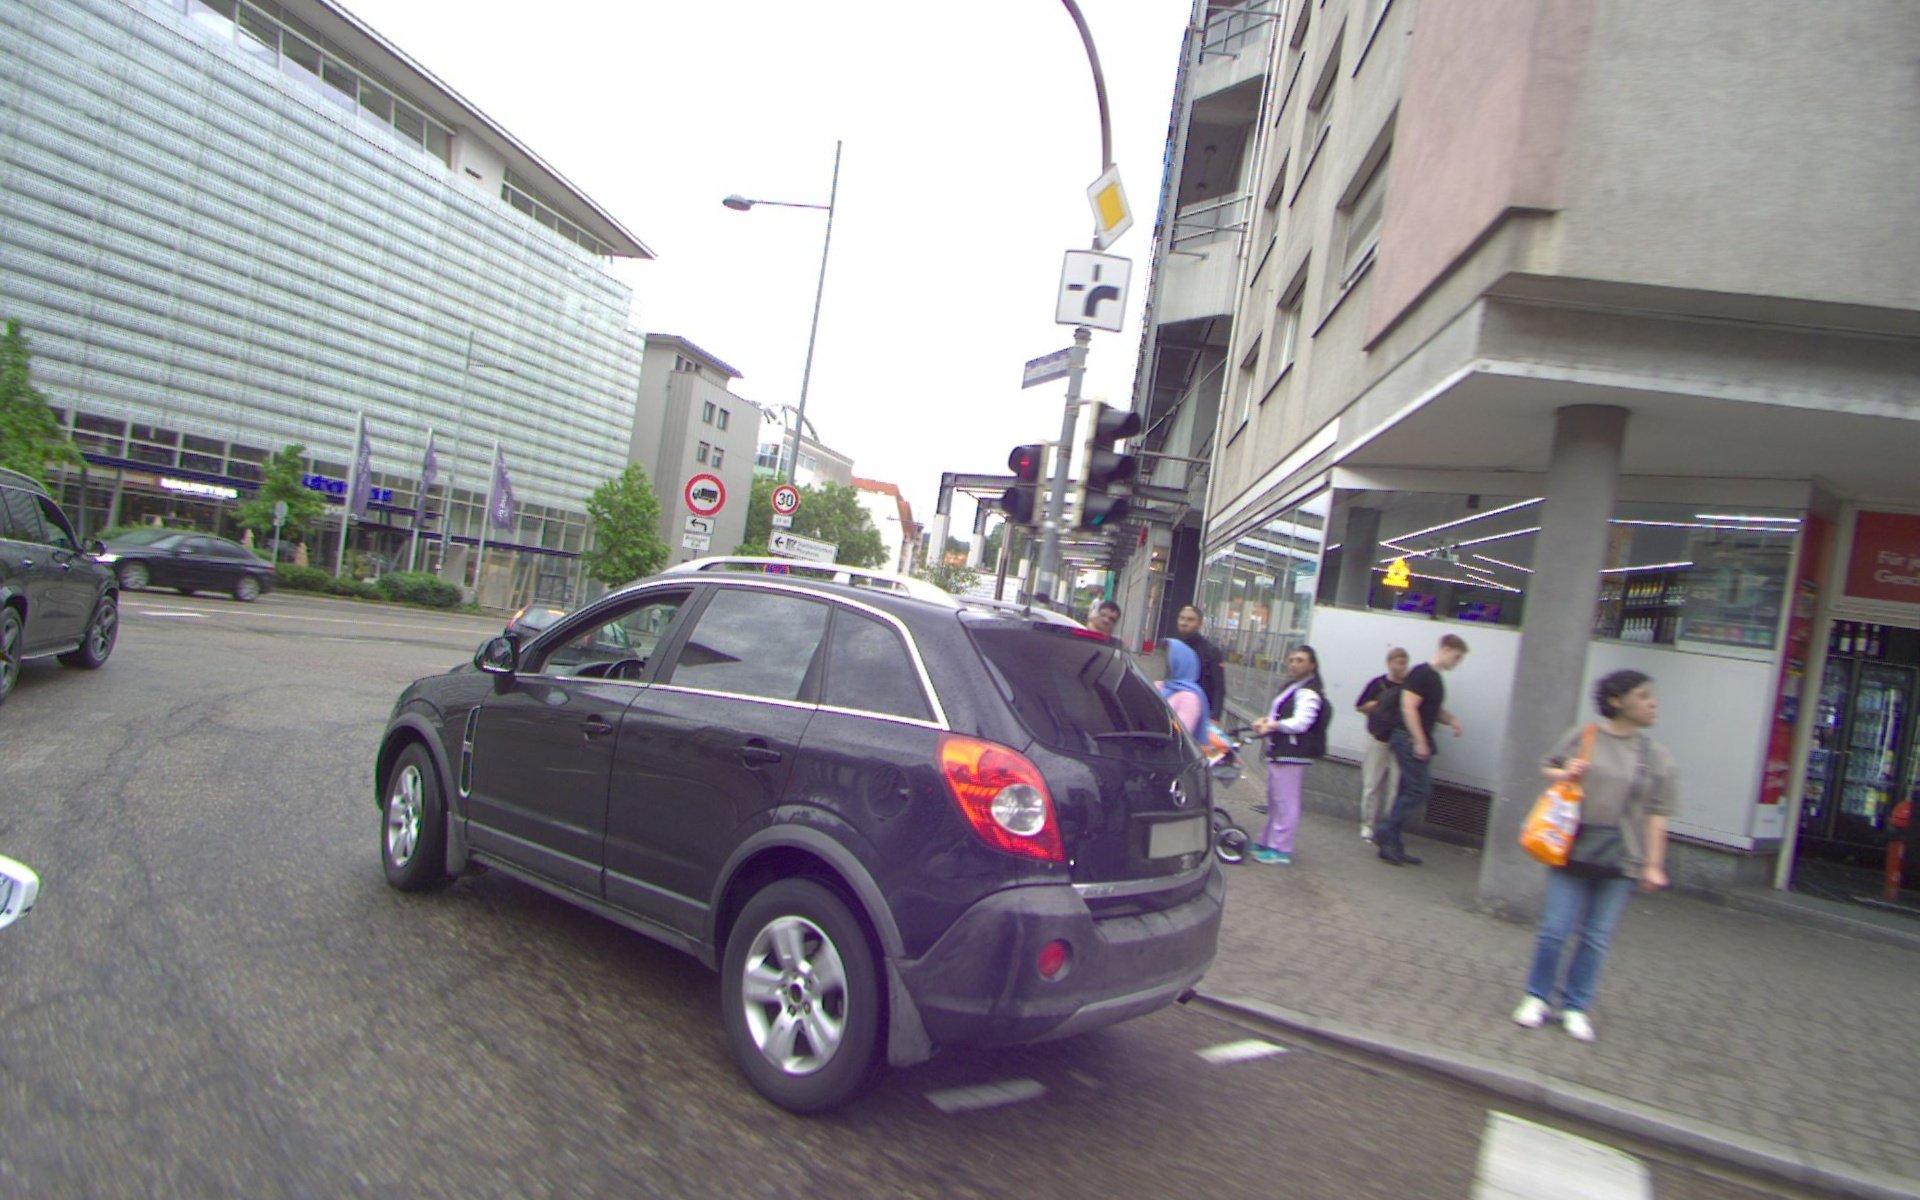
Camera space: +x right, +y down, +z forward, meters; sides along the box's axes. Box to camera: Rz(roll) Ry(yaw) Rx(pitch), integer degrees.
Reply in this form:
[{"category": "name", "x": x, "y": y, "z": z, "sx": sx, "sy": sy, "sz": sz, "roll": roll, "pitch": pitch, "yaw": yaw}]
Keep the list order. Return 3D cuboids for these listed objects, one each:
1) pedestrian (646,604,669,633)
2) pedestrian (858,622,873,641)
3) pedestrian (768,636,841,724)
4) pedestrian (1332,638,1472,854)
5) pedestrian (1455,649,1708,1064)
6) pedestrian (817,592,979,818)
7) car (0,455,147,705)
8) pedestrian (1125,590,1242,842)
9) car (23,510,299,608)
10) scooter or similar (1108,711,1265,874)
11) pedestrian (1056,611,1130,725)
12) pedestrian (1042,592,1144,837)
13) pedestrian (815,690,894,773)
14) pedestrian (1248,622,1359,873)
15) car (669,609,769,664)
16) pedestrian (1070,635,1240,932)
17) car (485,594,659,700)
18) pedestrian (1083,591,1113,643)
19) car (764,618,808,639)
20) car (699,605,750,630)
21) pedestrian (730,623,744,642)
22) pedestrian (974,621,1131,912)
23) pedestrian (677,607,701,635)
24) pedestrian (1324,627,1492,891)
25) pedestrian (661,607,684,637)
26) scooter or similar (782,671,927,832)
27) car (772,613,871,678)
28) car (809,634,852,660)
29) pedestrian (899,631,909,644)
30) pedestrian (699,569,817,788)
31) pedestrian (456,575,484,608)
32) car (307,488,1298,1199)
[{"category": "pedestrian", "x": -19.338, "y": 1.191, "z": 64.328, "sx": 0.979, "sy": 1.742, "sz": 1.038, "roll": 9, "pitch": -2, "yaw": -7}, {"category": "pedestrian", "x": -10.206, "y": 3.392, "z": 108.734, "sx": 1.046, "sy": 1.903, "sz": 0.839, "roll": 8, "pitch": -1, "yaw": 17}, {"category": "pedestrian", "x": -2.984, "y": 1.523, "z": 19.423, "sx": 1.039, "sy": 1.549, "sz": 1.028, "roll": 6, "pitch": -2, "yaw": 5}, {"category": "pedestrian", "x": 3.713, "y": 1.201, "z": 8.514, "sx": 0.822, "sy": 1.659, "sz": 0.617, "roll": 5, "pitch": 3, "yaw": 12}, {"category": "pedestrian", "x": 2.965, "y": 1.140, "z": 4.811, "sx": 0.772, "sy": 1.714, "sz": 0.624, "roll": 7, "pitch": 1, "yaw": 43}, {"category": "pedestrian", "x": -0.518, "y": 0.873, "z": 8.760, "sx": 0.823, "sy": 1.744, "sz": 1.038, "roll": 8, "pitch": 1, "yaw": 25}, {"category": "car", "x": -8.723, "y": -0.318, "z": 8.360, "sx": 2.074, "sy": 1.836, "sz": 4.758, "roll": 11, "pitch": -4, "yaw": -30}, {"category": "pedestrian", "x": 1.911, "y": 0.944, "z": 8.529, "sx": 0.718, "sy": 1.955, "sz": 0.820, "roll": 7, "pitch": 1, "yaw": 16}, {"category": "car", "x": -17.687, "y": -0.824, "z": 22.654, "sx": 1.962, "sy": 1.441, "sz": 4.642, "roll": 8, "pitch": -3, "yaw": 9}, {"category": "scooter or similar", "x": 1.687, "y": 1.429, "z": 7.657, "sx": 1.028, "sy": 0.999, "sz": 0.773, "roll": 5, "pitch": 1, "yaw": 7}, {"category": "pedestrian", "x": 1.083, "y": 0.554, "z": 8.203, "sx": 0.433, "sy": 0.856, "sz": 0.220, "roll": 7, "pitch": -2, "yaw": 29}, {"category": "pedestrian", "x": 1.119, "y": 0.899, "z": 8.353, "sx": 0.646, "sy": 1.890, "sz": 0.838, "roll": 4, "pitch": 2, "yaw": 12}, {"category": "pedestrian", "x": -0.859, "y": 1.064, "z": 8.203, "sx": 0.450, "sy": 0.578, "sz": 0.371, "roll": 7, "pitch": 2, "yaw": 27}, {"category": "pedestrian", "x": 2.581, "y": 1.069, "z": 7.646, "sx": 0.606, "sy": 1.744, "sz": 0.838, "roll": 5, "pitch": 1, "yaw": 16}, {"category": "car", "x": -8.803, "y": 1.391, "z": 37.083, "sx": 1.919, "sy": 1.591, "sz": 4.007, "roll": 10, "pitch": -2, "yaw": 10}, {"category": "pedestrian", "x": 1.201, "y": 1.072, "z": 6.188, "sx": 0.739, "sy": 1.656, "sz": 0.590, "roll": 3, "pitch": 2, "yaw": -41}, {"category": "car", "x": -6.723, "y": 0.868, "z": 17.858, "sx": 1.692, "sy": 1.434, "sz": 3.773, "roll": 9, "pitch": -4, "yaw": -4}, {"category": "pedestrian", "x": 4.848, "y": 0.610, "z": 35.359, "sx": 0.812, "sy": 1.707, "sz": 0.599, "roll": 8, "pitch": -1, "yaw": 10}, {"category": "car", "x": -19.643, "y": 3.233, "z": 113.650, "sx": 4.526, "sy": 1.498, "sz": 1.943, "roll": 11, "pitch": -2, "yaw": -2}, {"category": "car", "x": -26.607, "y": 1.989, "z": 113.730, "sx": 5.000, "sy": 1.777, "sz": 2.001, "roll": 11, "pitch": -2, "yaw": -2}, {"category": "pedestrian", "x": -22.683, "y": 3.282, "z": 102.386, "sx": 0.746, "sy": 1.742, "sz": 0.952, "roll": 8, "pitch": -2, "yaw": 23}, {"category": "pedestrian", "x": 0.580, "y": 0.997, "z": 6.269, "sx": 0.822, "sy": 1.660, "sz": 0.540, "roll": 4, "pitch": 3, "yaw": 8}, {"category": "pedestrian", "x": -18.686, "y": 1.466, "z": 69.394, "sx": 0.958, "sy": 1.742, "sz": 1.091, "roll": 8, "pitch": -2, "yaw": 17}, {"category": "pedestrian", "x": 3.494, "y": 1.225, "z": 7.843, "sx": 0.831, "sy": 1.887, "sz": 0.660, "roll": 9, "pitch": -2, "yaw": -35}, {"category": "pedestrian", "x": -18.213, "y": 1.412, "z": 63.806, "sx": 0.803, "sy": 1.732, "sz": 1.314, "roll": 8, "pitch": -2, "yaw": 4}, {"category": "scooter or similar", "x": -0.843, "y": 1.194, "z": 8.208, "sx": 0.643, "sy": 1.123, "sz": 0.971, "roll": 7, "pitch": 2, "yaw": 27}, {"category": "car", "x": -4.285, "y": 1.473, "z": 31.880, "sx": 1.920, "sy": 1.591, "sz": 4.006, "roll": 10, "pitch": -2, "yaw": 7}, {"category": "car", "x": -9.857, "y": 3.564, "z": 76.254, "sx": 1.826, "sy": 1.569, "sz": 4.068, "roll": 8, "pitch": -3, "yaw": -28}, {"category": "pedestrian", "x": -7.674, "y": 5.134, "z": 137.432, "sx": 0.917, "sy": 1.626, "sz": 0.559, "roll": 9, "pitch": -2, "yaw": -31}, {"category": "pedestrian", "x": -1.853, "y": 0.694, "z": 9.246, "sx": 0.773, "sy": 1.892, "sz": 0.616, "roll": 4, "pitch": 2, "yaw": 24}, {"category": "pedestrian", "x": -24.441, "y": -0.413, "z": 50.171, "sx": 0.642, "sy": 1.473, "sz": 0.846, "roll": 8, "pitch": -2, "yaw": 17}, {"category": "car", "x": -0.970, "y": 0.672, "z": 4.647, "sx": 4.235, "sy": 1.806, "sz": 1.909, "roll": 8, "pitch": -2, "yaw": 37}]
